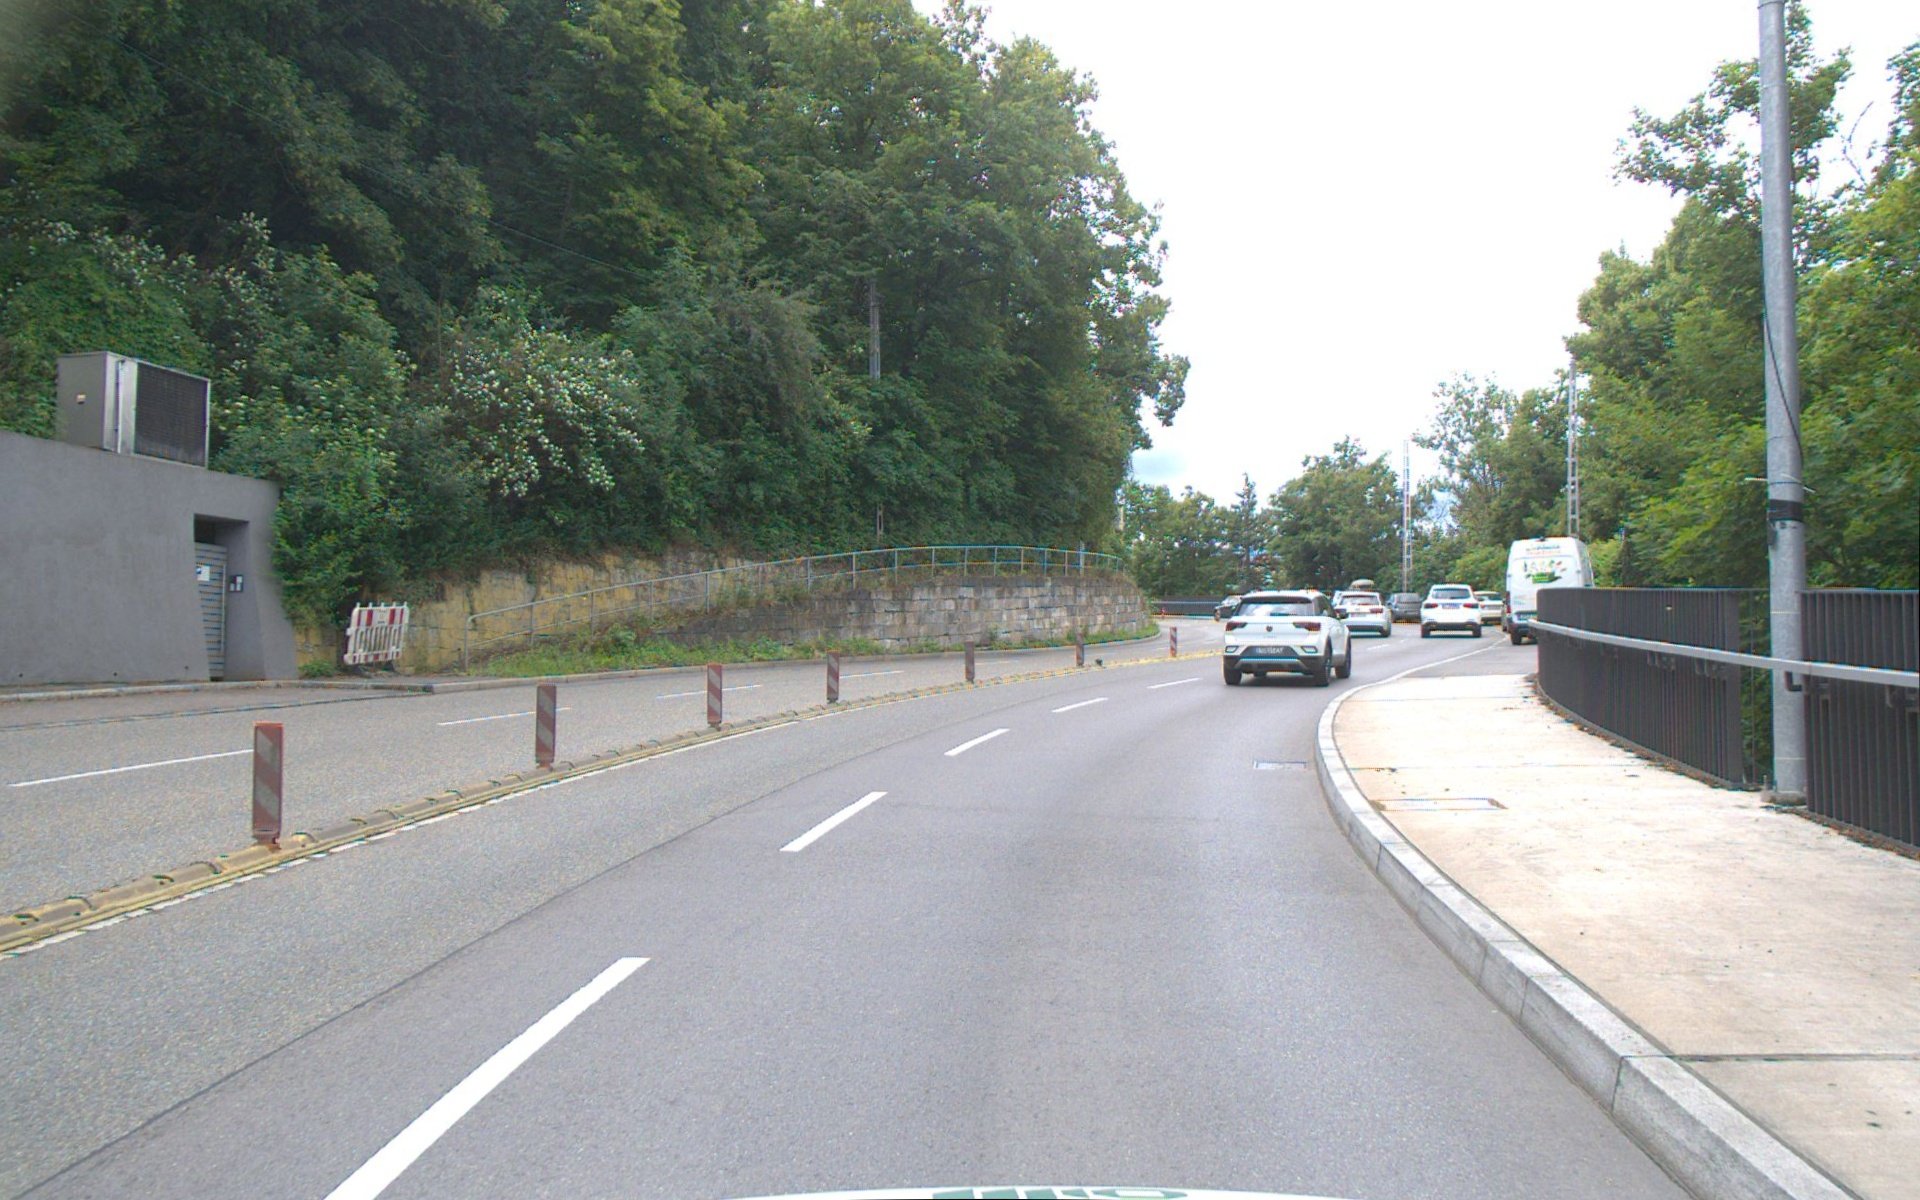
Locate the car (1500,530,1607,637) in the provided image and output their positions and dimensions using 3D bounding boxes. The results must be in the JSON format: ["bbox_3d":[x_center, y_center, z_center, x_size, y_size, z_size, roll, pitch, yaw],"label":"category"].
[{"bbox_3d":[15.870,-0.405,44.035,2.043,2.567,5.840,-3,-1,25],"label":"car"}]

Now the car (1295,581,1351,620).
[{"bbox_3d":[16.880,0.045,77.104,1.778,1.719,4.001,2,-1,2],"label":"car"}]

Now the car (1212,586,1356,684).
[{"bbox_3d":[5.679,0.561,28.680,1.828,1.563,3.804,0,0,21],"label":"car"}]

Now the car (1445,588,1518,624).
[{"bbox_3d":[22.362,0.254,71.095,1.741,1.443,3.998,-1,0,-2],"label":"car"}]

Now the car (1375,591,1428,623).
[{"bbox_3d":[21.851,0.358,82.010,1.607,1.490,4.000,1,-1,1],"label":"car"}]

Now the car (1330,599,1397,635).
[{"bbox_3d":[21.364,0.897,87.785,1.765,1.803,4.596,1,0,-10],"label":"car"}]

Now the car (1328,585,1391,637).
[{"bbox_3d":[13.193,0.382,54.502,1.866,1.601,4.002,2,-1,15],"label":"car"}]

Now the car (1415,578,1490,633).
[{"bbox_3d":[15.618,0.189,52.609,1.951,1.614,4.003,2,-1,12],"label":"car"}]
